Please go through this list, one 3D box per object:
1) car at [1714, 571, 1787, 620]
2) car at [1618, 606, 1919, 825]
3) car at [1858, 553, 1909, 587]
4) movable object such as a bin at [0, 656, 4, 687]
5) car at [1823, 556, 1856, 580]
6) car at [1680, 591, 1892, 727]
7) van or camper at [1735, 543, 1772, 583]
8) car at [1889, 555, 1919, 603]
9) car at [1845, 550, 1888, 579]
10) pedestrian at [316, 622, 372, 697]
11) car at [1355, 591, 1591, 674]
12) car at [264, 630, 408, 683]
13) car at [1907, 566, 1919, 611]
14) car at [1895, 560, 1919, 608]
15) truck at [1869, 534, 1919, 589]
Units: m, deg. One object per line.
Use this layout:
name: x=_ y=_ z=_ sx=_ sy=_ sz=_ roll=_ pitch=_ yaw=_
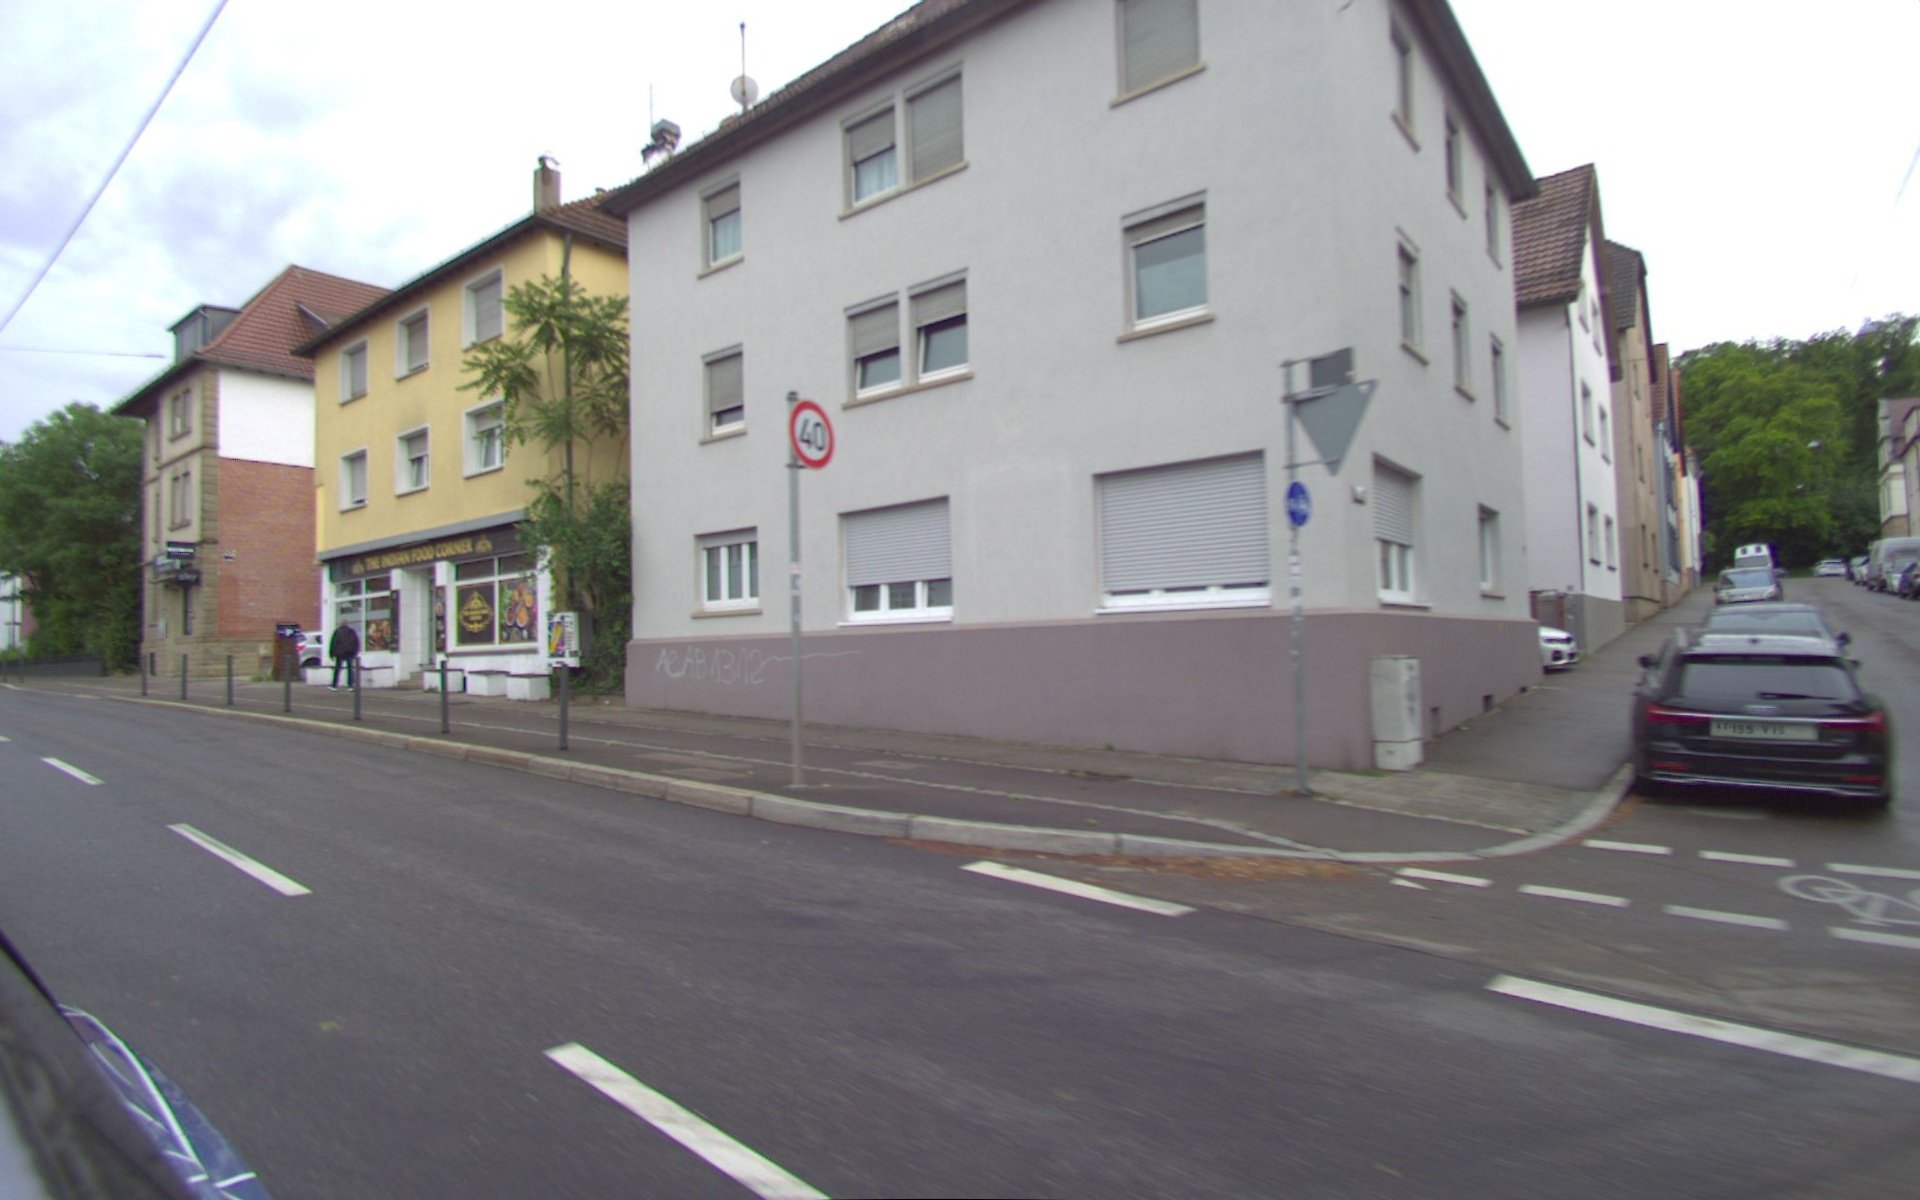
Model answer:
car: x=27.111 y=-0.165 z=34.669 sx=1.831 sy=1.478 sz=3.977 roll=-2 pitch=1 yaw=40
car: x=7.688 y=0.897 z=9.629 sx=1.998 sy=1.464 sz=3.949 roll=-2 pitch=1 yaw=38
car: x=50.520 y=-1.639 z=55.412 sx=1.832 sy=1.716 sz=4.140 roll=-2 pitch=1 yaw=40
movable object such as a bin: x=-122.027 y=8.925 z=125.945 sx=2.908 sy=3.873 sz=8.148 roll=0 pitch=-4 yaw=-33
car: x=68.717 y=-2.540 z=79.101 sx=1.832 sy=1.716 sz=4.140 roll=-2 pitch=1 yaw=40
car: x=11.294 y=0.705 z=13.974 sx=1.972 sy=1.464 sz=3.949 roll=-2 pitch=1 yaw=38
van or camper: x=55.371 y=-2.570 z=70.590 sx=1.831 sy=2.627 sz=4.602 roll=-2 pitch=1 yaw=40
car: x=40.639 y=-0.933 z=42.723 sx=1.832 sy=1.913 sz=4.140 roll=-2 pitch=1 yaw=40
car: x=57.690 y=-2.291 z=64.472 sx=1.832 sy=1.716 sz=4.140 roll=-2 pitch=1 yaw=40
pedestrian: x=-14.390 y=1.370 z=23.652 sx=0.991 sy=1.692 sz=0.808 roll=-2 pitch=-1 yaw=37
car: x=10.436 y=0.639 z=20.731 sx=3.997 sy=1.532 sz=1.780 roll=-2 pitch=0 yaw=40
car: x=-20.268 y=1.805 z=32.959 sx=1.944 sy=1.497 sz=3.531 roll=-3 pitch=-1 yaw=38
car: x=32.540 y=-0.406 z=33.105 sx=1.830 sy=1.418 sz=4.143 roll=-2 pitch=1 yaw=38
car: x=37.477 y=-0.669 z=39.025 sx=1.832 sy=1.716 sz=4.140 roll=-2 pitch=1 yaw=40
truck: x=44.630 y=-1.877 z=47.747 sx=2.247 sy=2.384 sz=7.403 roll=-2 pitch=1 yaw=40
